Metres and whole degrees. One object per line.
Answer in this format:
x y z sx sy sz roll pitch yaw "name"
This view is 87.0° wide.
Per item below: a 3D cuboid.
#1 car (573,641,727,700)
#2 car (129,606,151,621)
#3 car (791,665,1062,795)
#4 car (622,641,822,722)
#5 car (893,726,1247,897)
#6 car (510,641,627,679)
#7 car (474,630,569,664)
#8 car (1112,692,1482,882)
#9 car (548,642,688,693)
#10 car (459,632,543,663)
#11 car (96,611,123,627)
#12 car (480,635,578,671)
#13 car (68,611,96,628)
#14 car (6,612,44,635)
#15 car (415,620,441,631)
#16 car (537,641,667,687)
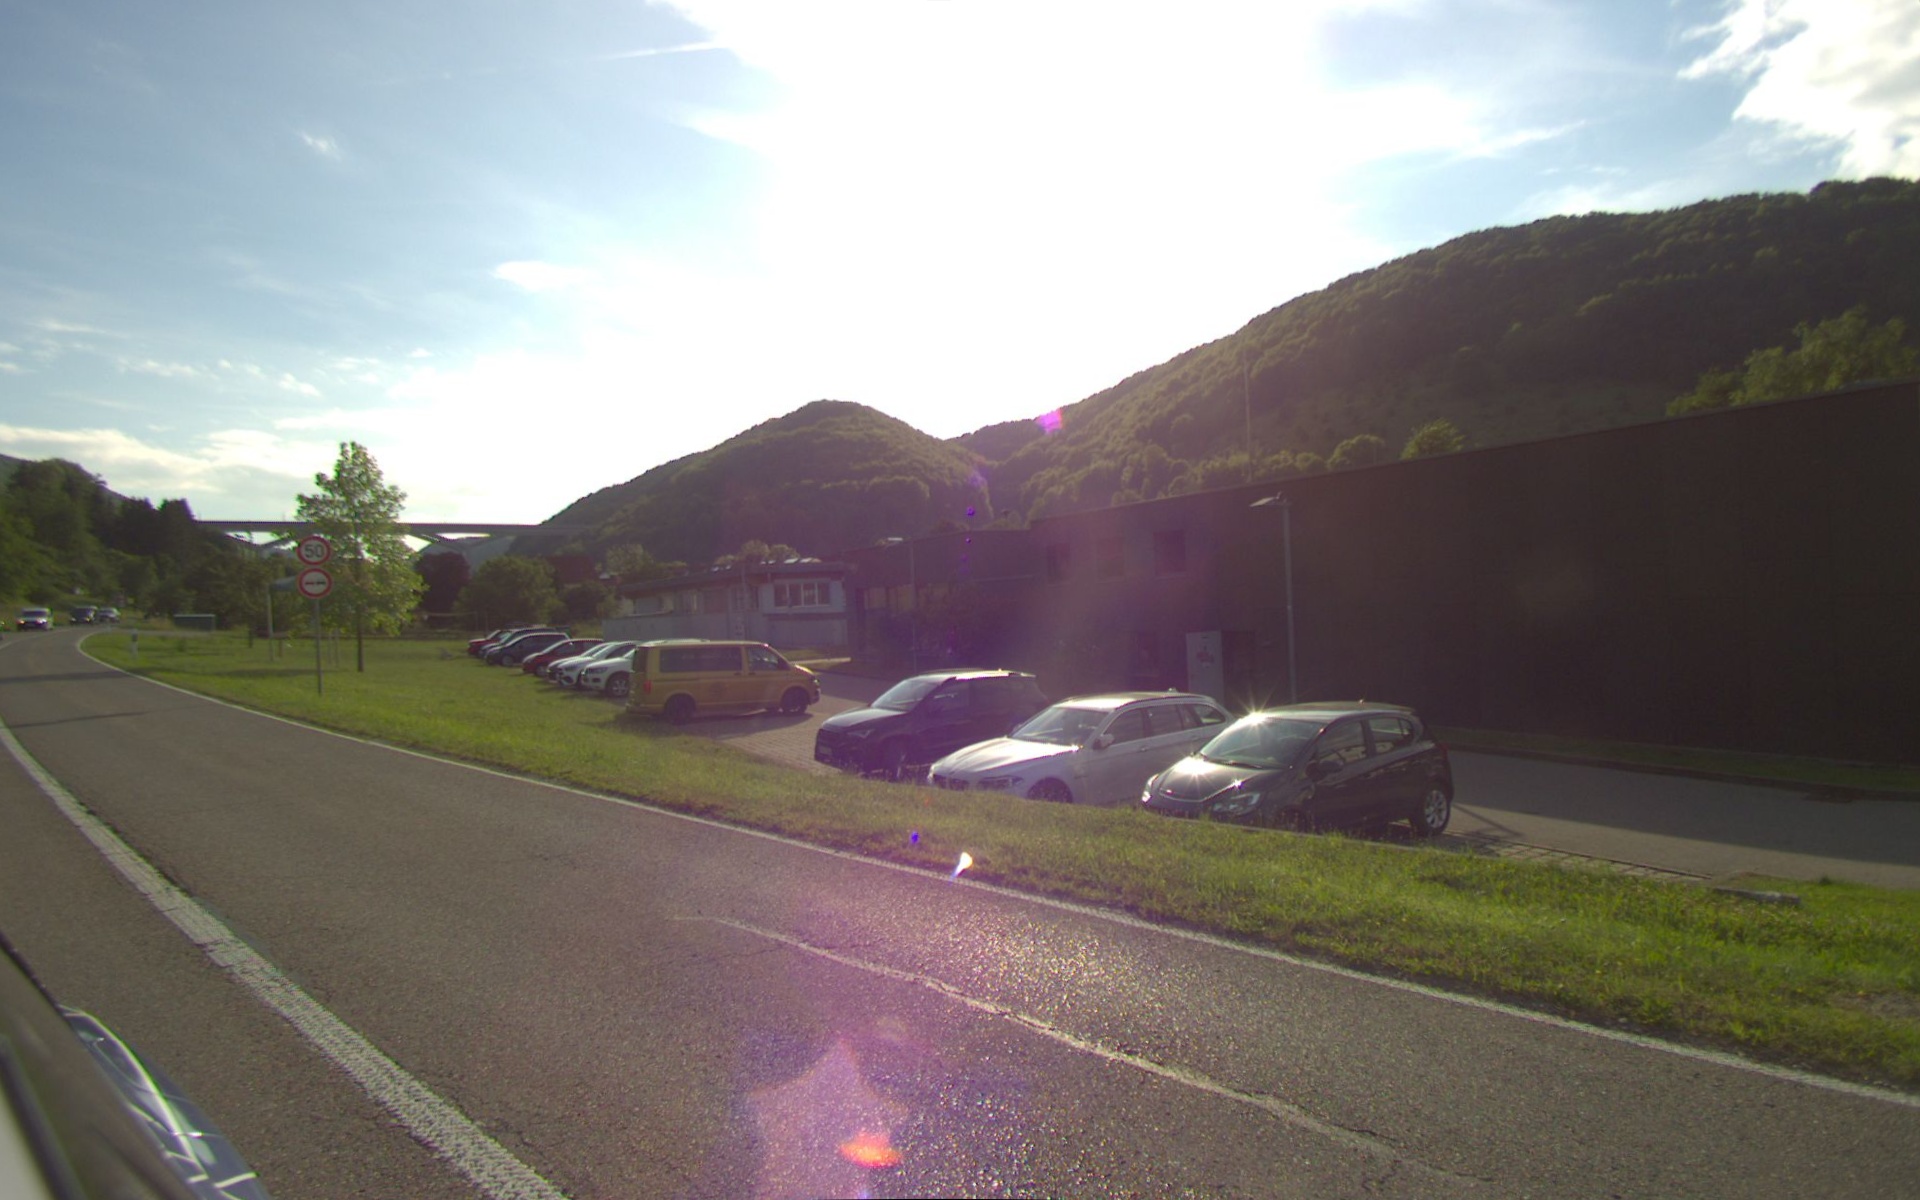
-10.086 2.248 33.013 4.477 1.714 2.006 0 -2 -30 "car"
-112.024 1.842 138.325 1.880 1.918 4.011 0 0 -33 "car"
-0.515 2.091 17.267 4.226 1.650 1.917 -2 -1 -35 "car"
-6.044 2.004 25.812 4.583 1.827 2.006 0 -2 -30 "car"
1.566 2.661 13.583 4.577 1.508 1.918 1 -2 -34 "car"
-16.612 2.512 43.001 4.370 1.463 2.006 0 -2 -30 "car"
-24.209 2.551 55.897 4.595 1.776 2.006 0 -2 -31 "car"
3.852 1.946 11.458 3.932 1.546 1.839 0 -2 -31 "car"
-12.108 2.343 35.884 4.370 1.599 2.006 0 -2 -30 "car"
-27.316 2.789 60.232 4.371 1.733 2.006 0 -2 -31 "car"
-96.242 2.162 114.575 1.967 1.730 4.010 -2 -1 -35 "car"
-21.964 2.672 51.625 4.371 1.595 2.006 -1 -1 -31 "car"
-88.566 1.974 102.132 1.652 1.659 3.355 0 -1 -33 "car"
-73.824 1.844 79.981 1.771 1.749 4.292 -1 -1 -37 "car"
-73.244 3.508 139.322 1.967 1.539 4.785 0 -1 -13 "car"
-13.734 2.393 38.852 4.371 1.595 2.006 1 -2 -32 "car"
